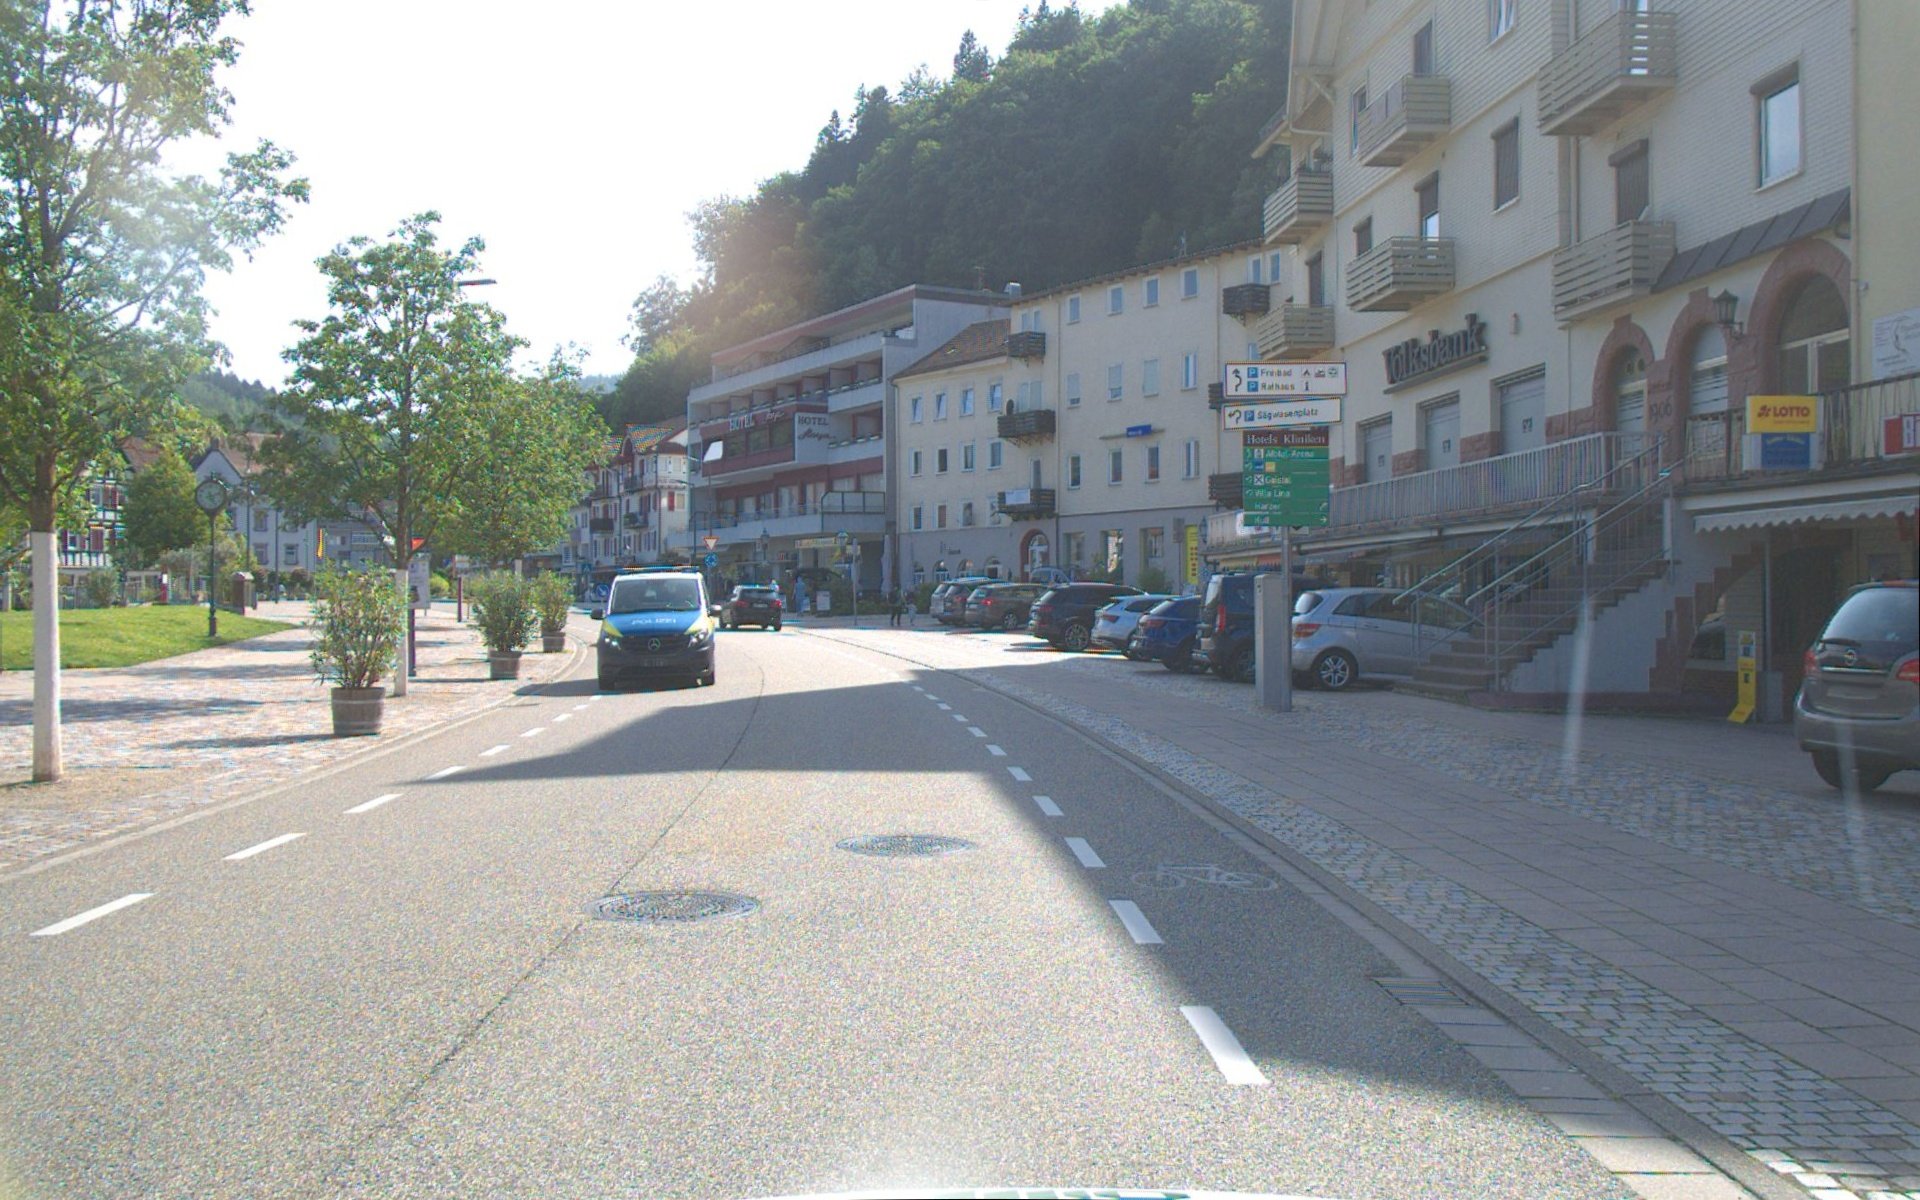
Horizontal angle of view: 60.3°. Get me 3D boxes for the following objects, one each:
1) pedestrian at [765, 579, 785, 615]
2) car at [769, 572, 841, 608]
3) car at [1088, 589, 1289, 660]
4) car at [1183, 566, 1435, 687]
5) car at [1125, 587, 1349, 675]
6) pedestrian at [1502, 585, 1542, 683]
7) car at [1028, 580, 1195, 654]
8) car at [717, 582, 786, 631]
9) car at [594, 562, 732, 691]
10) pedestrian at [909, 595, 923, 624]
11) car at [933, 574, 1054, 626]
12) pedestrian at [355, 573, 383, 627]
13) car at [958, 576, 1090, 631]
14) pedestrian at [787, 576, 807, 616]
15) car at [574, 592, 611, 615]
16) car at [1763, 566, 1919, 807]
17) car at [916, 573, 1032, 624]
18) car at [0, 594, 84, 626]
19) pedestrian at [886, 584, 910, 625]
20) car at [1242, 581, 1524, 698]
[{"bbox_3d":[-8.187,-0.134,73.169,0.748,1.621,0.622,0,0,-27],"label":"pedestrian"},{"bbox_3d":[-7.507,-0.471,80.195,3.123,1.692,1.582,0,0,-25],"label":"car"},{"bbox_3d":[5.158,0.565,37.671,4.269,1.486,1.771,1,-1,-2],"label":"car"},{"bbox_3d":[5.942,0.459,28.445,3.833,1.836,1.856,3,-1,-4],"label":"car"},{"bbox_3d":[5.167,0.563,31.135,3.833,1.486,1.734,2,0,-4],"label":"car"},{"bbox_3d":[9.902,0.592,29.157,0.449,1.687,0.432,-2,0,-22],"label":"pedestrian"},{"bbox_3d":[3.860,0.431,42.550,4.004,1.695,1.771,3,0,-4],"label":"car"},{"bbox_3d":[-7.423,0.193,58.666,1.701,1.602,3.732,0,2,-19],"label":"car"},{"bbox_3d":[-5.051,0.421,28.731,1.818,1.987,5.012,-2,0,-5],"label":"car"},{"bbox_3d":[-1.625,0.354,60.591,0.408,1.019,0.531,-2,1,6],"label":"pedestrian"},{"bbox_3d":[1.180,-0.021,57.618,3.813,1.576,1.759,-3,2,-25],"label":"car"},{"bbox_3d":[-20.340,-0.010,56.935,0.856,1.847,0.685,0,0,-26],"label":"pedestrian"},{"bbox_3d":[2.099,0.095,54.335,3.959,1.542,1.759,-3,2,-25],"label":"car"},{"bbox_3d":[-7.216,-0.180,73.059,0.661,1.759,0.701,0,0,-27],"label":"pedestrian"},{"bbox_3d":[-27.114,0.229,122.025,1.658,1.649,3.962,0,0,-29],"label":"car"},{"bbox_3d":[8.100,0.635,11.935,3.786,1.582,1.758,2,0,-7],"label":"car"},{"bbox_3d":[0.504,-0.079,60.107,3.813,1.641,1.759,-3,2,-25],"label":"car"},{"bbox_3d":[-47.698,0.502,85.465,4.137,1.644,1.668,0,0,-37],"label":"car"},{"bbox_3d":[-2.258,0.175,60.503,0.722,1.467,0.630,-2,1,-14],"label":"pedestrian"},{"bbox_3d":[6.510,0.584,25.696,3.833,1.617,1.773,2,0,-5],"label":"car"}]
